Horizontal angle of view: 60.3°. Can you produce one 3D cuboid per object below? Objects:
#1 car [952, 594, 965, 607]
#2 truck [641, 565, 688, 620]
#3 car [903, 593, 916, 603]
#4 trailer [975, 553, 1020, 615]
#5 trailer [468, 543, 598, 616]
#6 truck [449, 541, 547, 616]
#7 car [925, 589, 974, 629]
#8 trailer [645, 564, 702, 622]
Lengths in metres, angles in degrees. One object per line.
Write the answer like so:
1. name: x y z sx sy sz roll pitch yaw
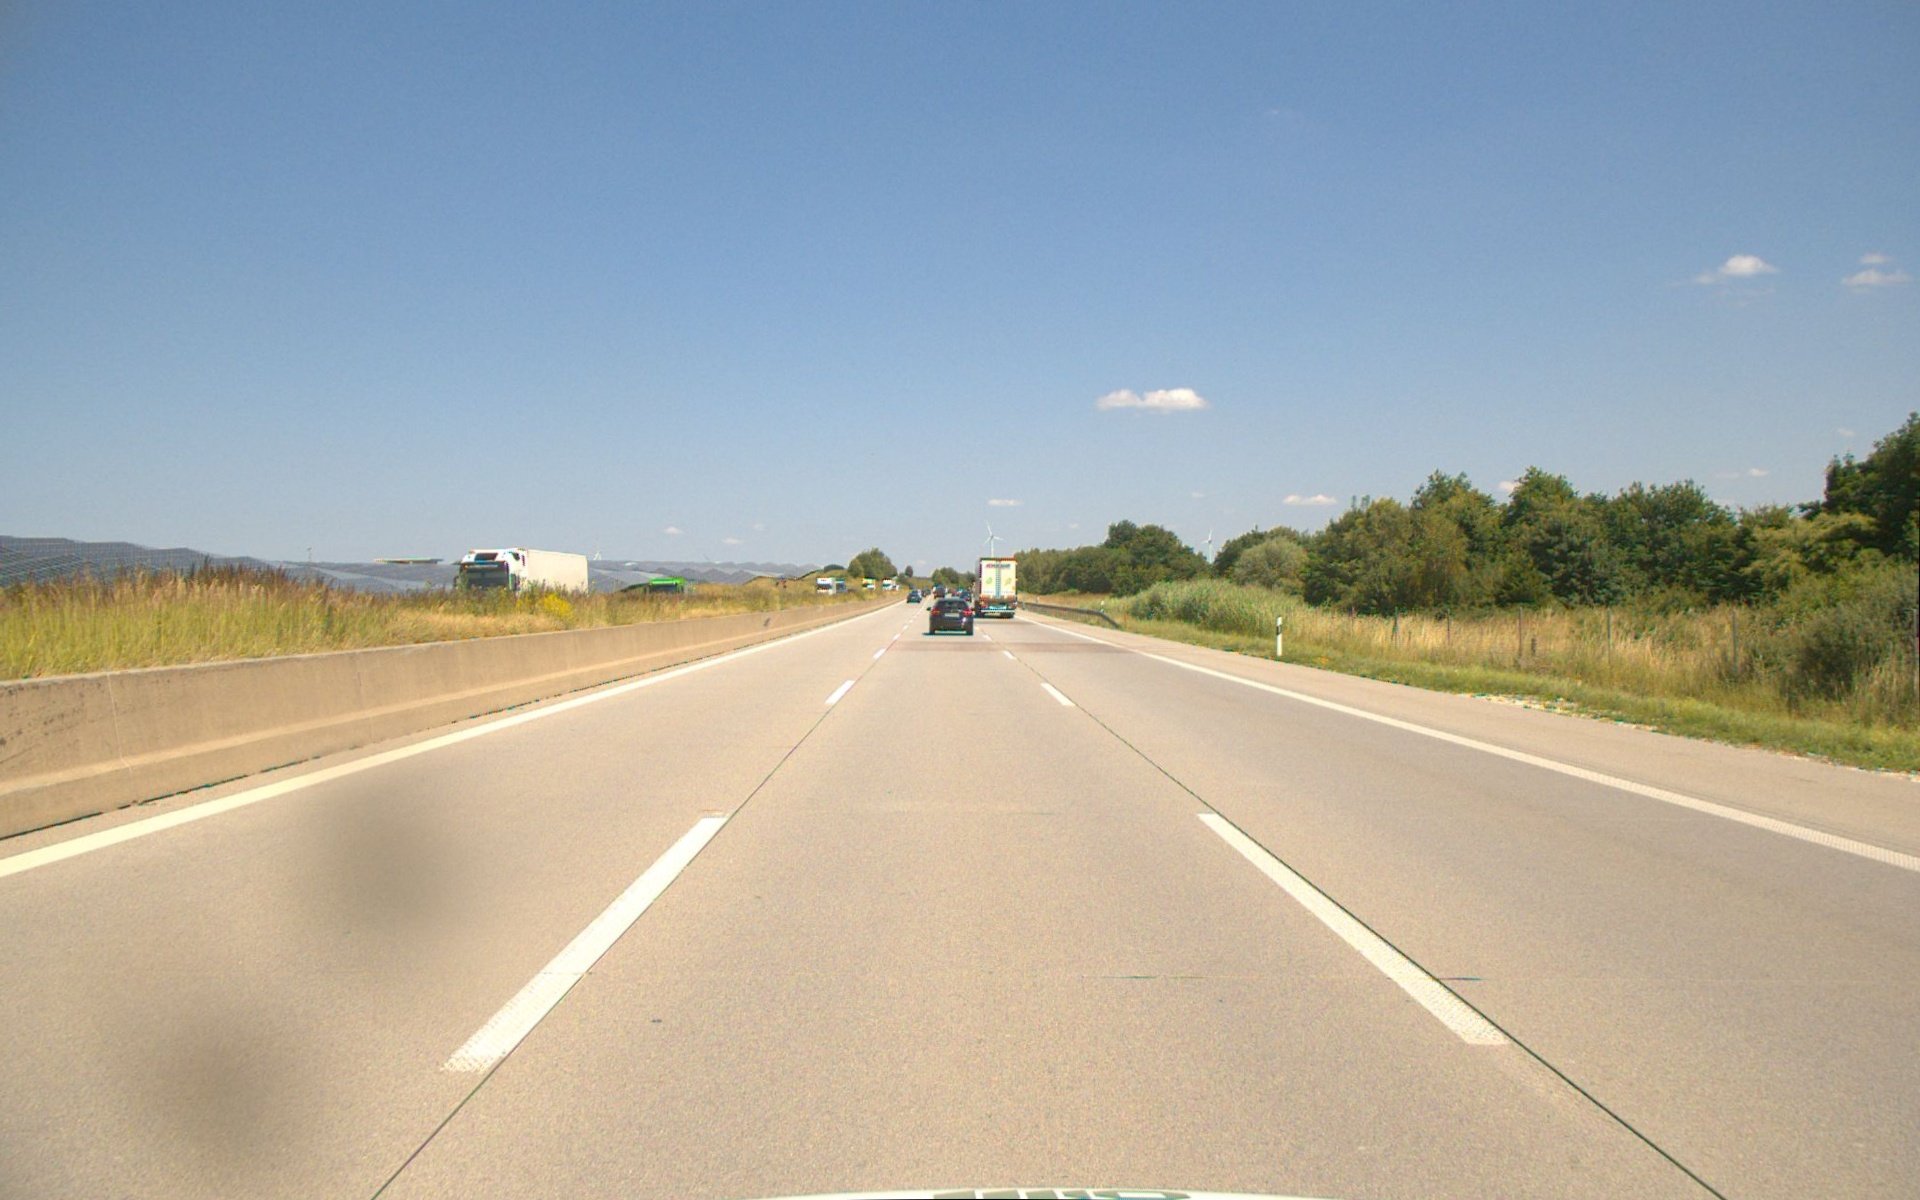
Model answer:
1. car: -0.221 0.087 243.075 1.789 1.940 4.001 1 0 2
2. truck: -22.093 -0.540 123.737 2.689 4.020 4.352 1 0 -1
3. car: -6.823 -0.276 224.241 1.622 1.217 3.959 3 0 -1
4. trailer: 2.591 -1.096 117.444 2.794 4.113 12.711 1 0 0
5. trailer: -20.779 -0.900 81.612 2.774 3.239 14.503 -1 0 -1
6. truck: -20.705 -0.912 74.457 2.775 3.212 5.825 -1 0 -1
7. car: -0.464 0.326 66.504 1.872 1.518 4.191 2 0 -1
8. trailer: -22.109 -0.533 128.160 2.676 4.264 10.255 0 0 -1
